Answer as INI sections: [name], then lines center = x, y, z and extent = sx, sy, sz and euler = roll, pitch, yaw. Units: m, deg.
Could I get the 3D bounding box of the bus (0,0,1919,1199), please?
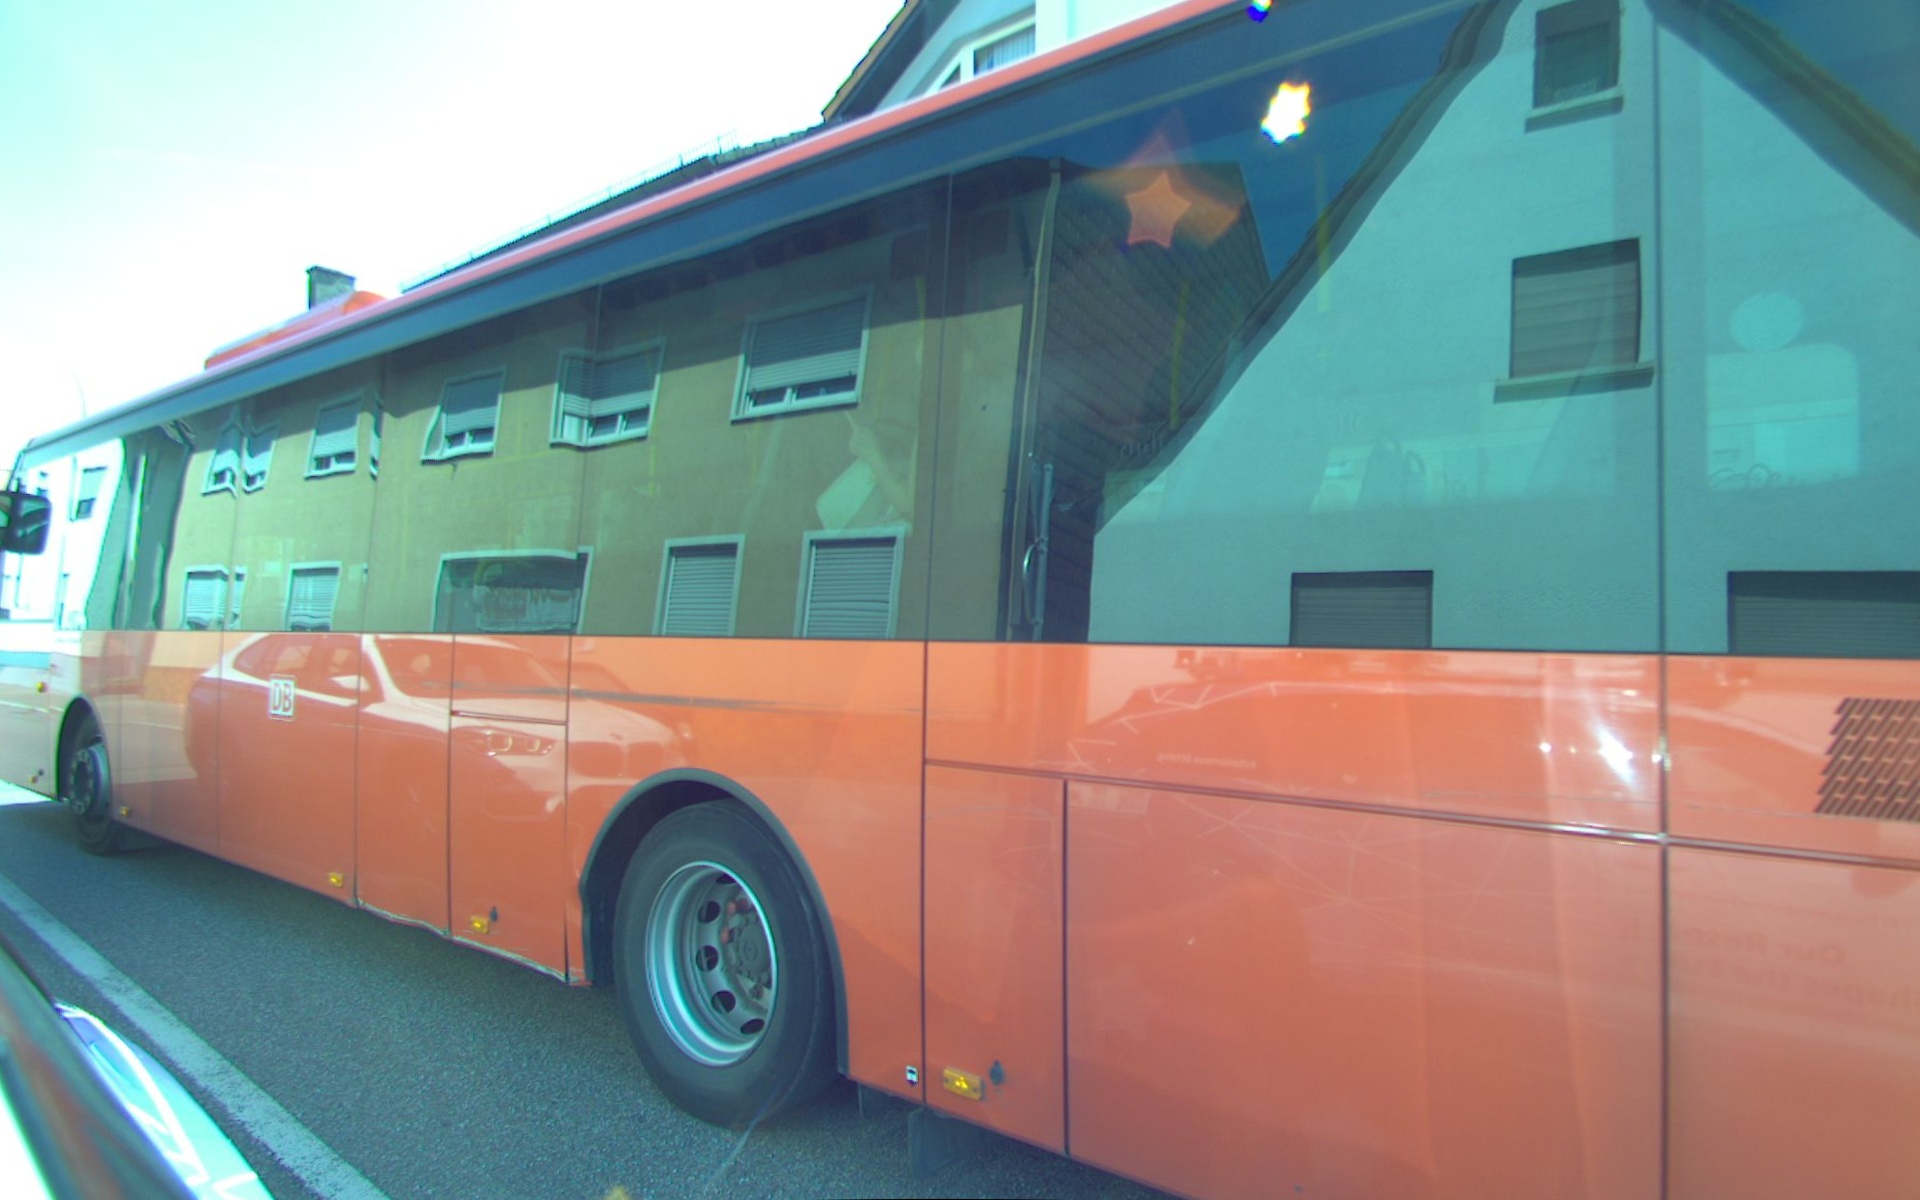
[bus]
center = -1.961, -0.038, 5.358
extent = 12.000, 3.257, 2.603
euler = -1, -4, 37

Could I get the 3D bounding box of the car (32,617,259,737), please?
[car]
center = -12.644, 1.079, 15.645
extent = 3.992, 1.527, 1.728
euler = -1, 2, 36
